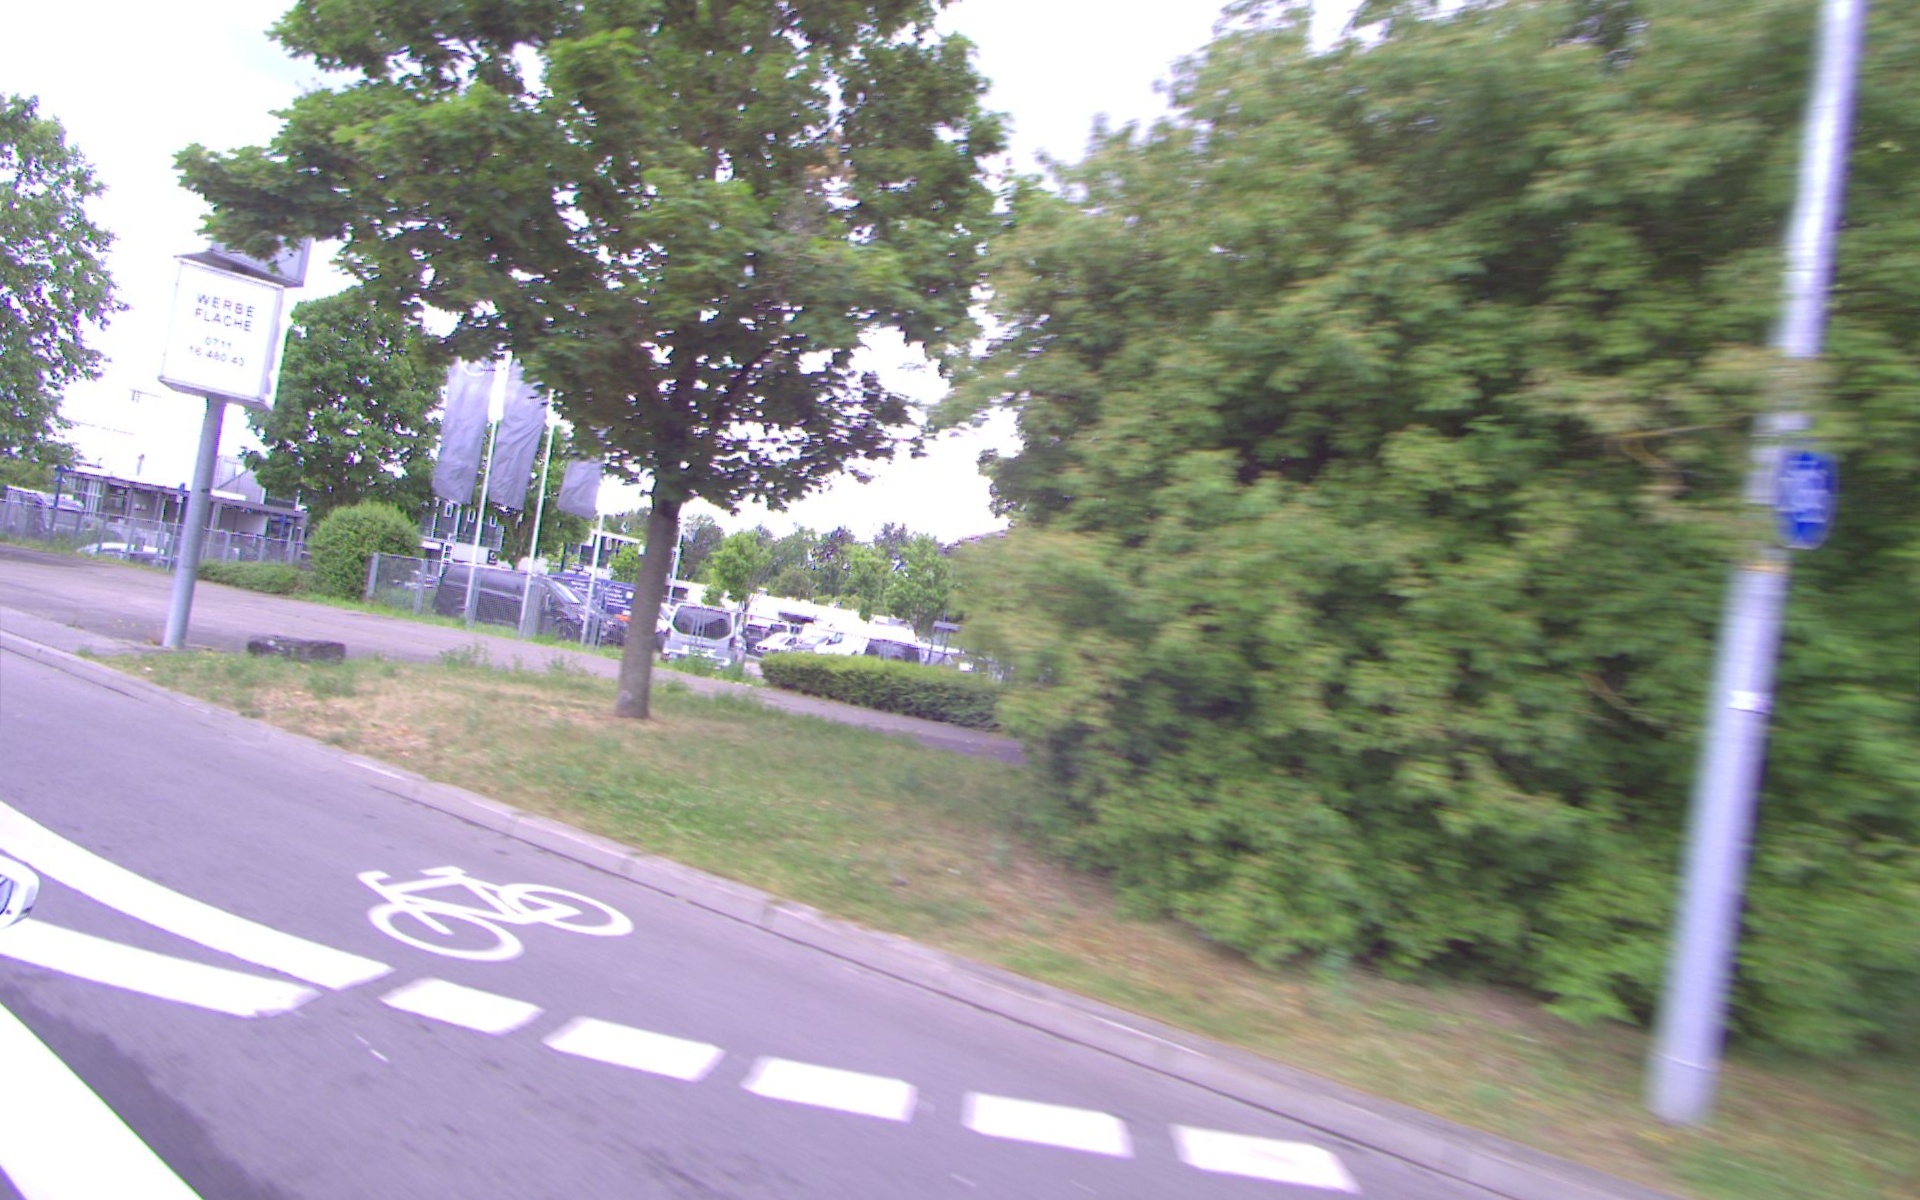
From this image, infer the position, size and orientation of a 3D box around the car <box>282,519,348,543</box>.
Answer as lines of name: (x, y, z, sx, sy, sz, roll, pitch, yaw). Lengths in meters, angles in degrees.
car: (-45.582, -4.877, 71.154, 1.389, 0.989, 3.649, 7, -3, 31)

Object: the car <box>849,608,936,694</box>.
car: (-1.959, 1.377, 28.082, 1.966, 1.978, 3.999, 8, -2, -7)

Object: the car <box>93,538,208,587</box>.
car: (-38.243, -1.741, 47.630, 1.662, 1.636, 3.746, 7, -3, 27)

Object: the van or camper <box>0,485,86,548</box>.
van or camper: (-52.078, -4.747, 56.642, 6.802, 2.901, 1.970, 7, -1, 30)

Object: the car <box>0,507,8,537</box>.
car: (-53.243, -4.470, 54.186, 4.273, 1.524, 1.715, 7, -4, 33)

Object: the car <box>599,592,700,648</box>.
car: (-12.920, 0.850, 41.947, 3.528, 1.776, 1.629, 7, -2, 16)

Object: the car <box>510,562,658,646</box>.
car: (-13.577, 0.180, 36.559, 4.346, 2.352, 2.001, 8, -2, 0)

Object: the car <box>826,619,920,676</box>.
car: (-4.683, 2.524, 54.174, 4.352, 2.340, 2.010, 3, -13, 28)

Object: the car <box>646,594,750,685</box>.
car: (-7.044, 1.057, 27.449, 1.966, 2.048, 3.999, 8, -2, -7)

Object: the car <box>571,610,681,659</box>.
car: (-12.854, 1.331, 38.827, 3.530, 1.364, 1.628, 8, -2, 0)

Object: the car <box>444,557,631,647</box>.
car: (-13.046, 0.089, 31.295, 4.710, 2.048, 2.001, 8, -2, -1)
